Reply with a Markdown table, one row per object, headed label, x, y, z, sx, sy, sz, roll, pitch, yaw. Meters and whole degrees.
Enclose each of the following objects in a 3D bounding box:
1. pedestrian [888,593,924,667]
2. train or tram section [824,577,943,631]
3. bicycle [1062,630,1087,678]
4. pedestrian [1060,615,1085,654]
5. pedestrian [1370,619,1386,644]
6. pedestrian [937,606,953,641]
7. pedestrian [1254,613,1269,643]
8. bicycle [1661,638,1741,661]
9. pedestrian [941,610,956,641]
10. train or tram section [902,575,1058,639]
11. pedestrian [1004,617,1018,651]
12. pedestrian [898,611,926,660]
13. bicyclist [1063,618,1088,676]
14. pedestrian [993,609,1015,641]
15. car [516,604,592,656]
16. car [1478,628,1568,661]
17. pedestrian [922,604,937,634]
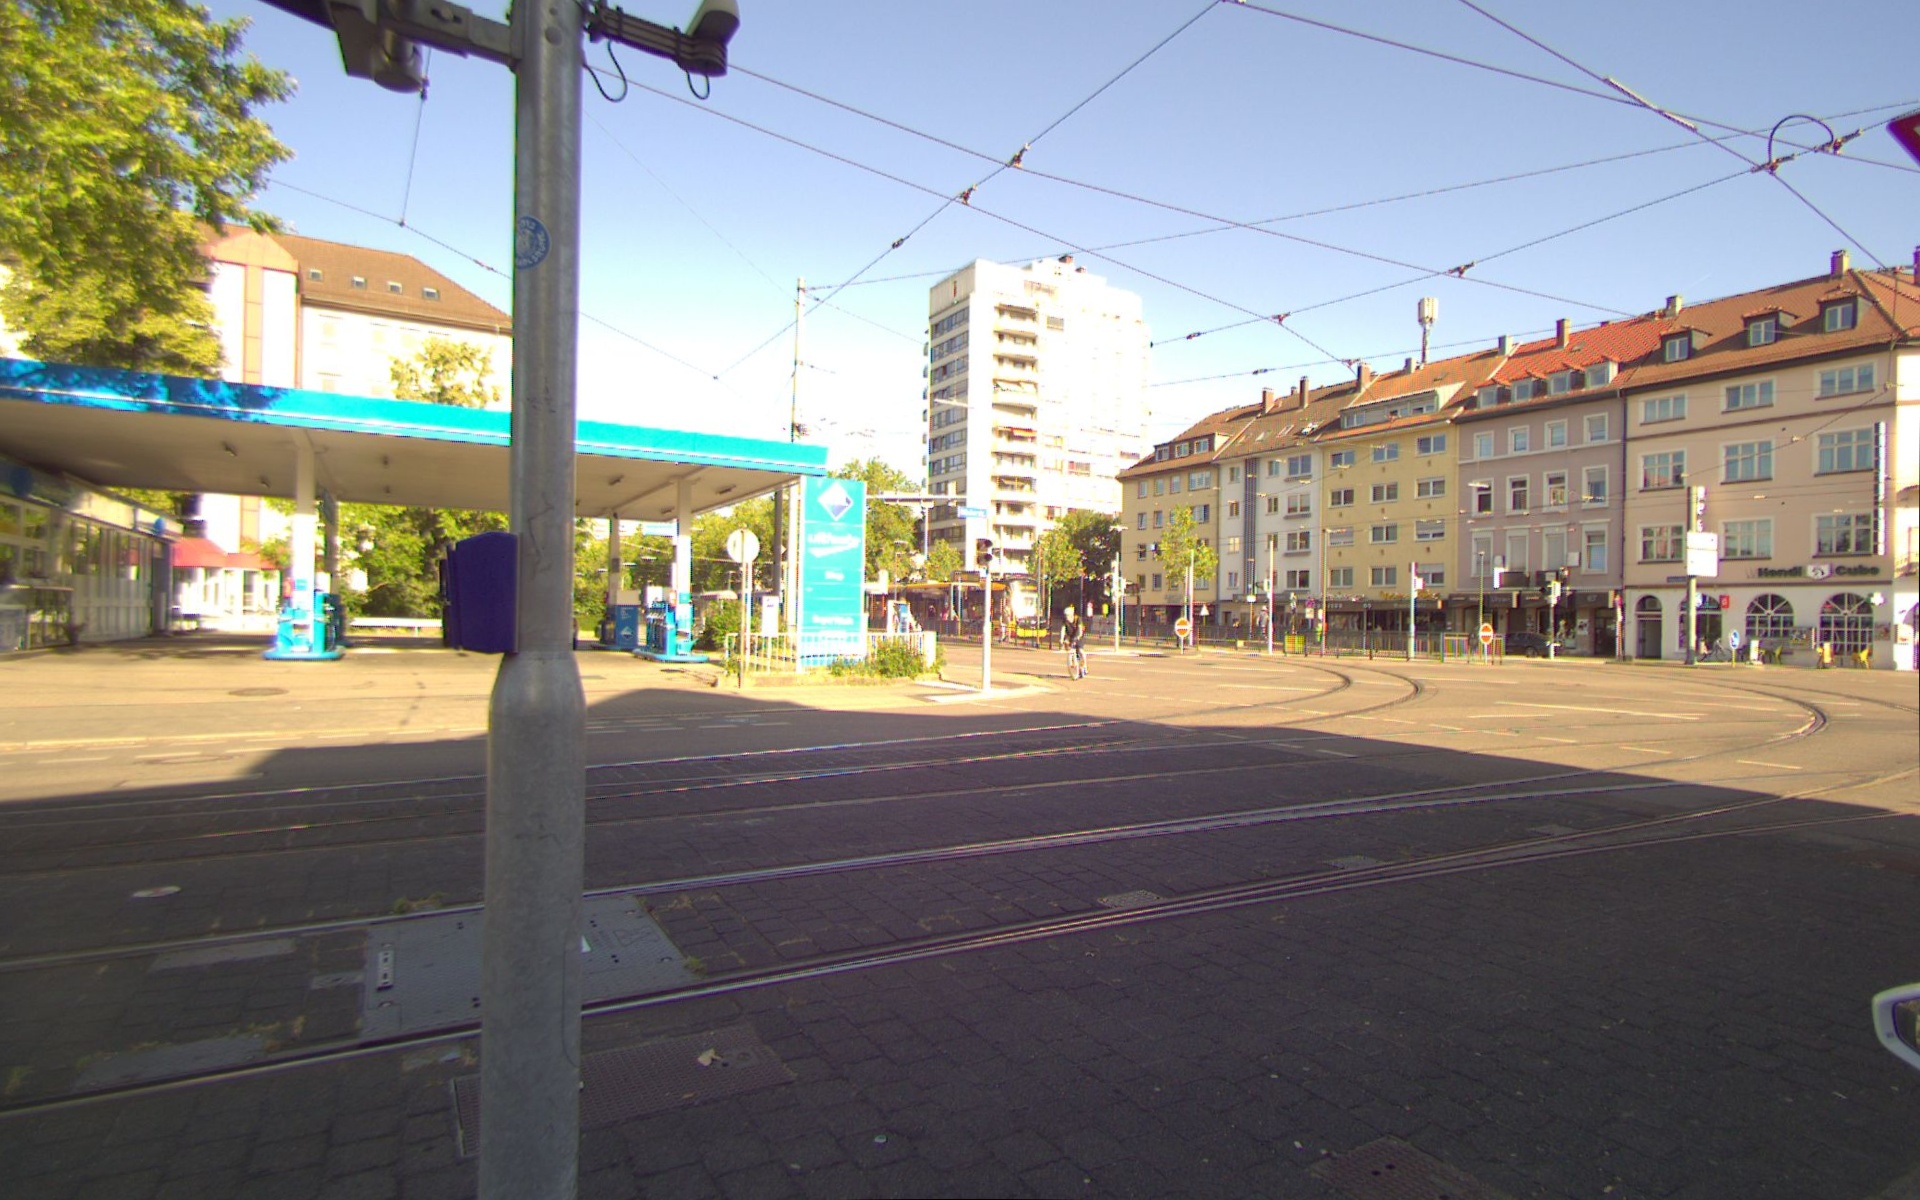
| label | x | y | z | sx | sy | sz | roll | pitch | yaw |
| --- | --- | --- | --- | --- | --- | --- | --- | --- | --- |
| pedestrian | -1.415 | 0.788 | 26.399 | 0.778 | 1.893 | 0.674 | 2 | 0 | 6 |
| train or tram section | -5.457 | 0.203 | 67.951 | 2.751 | 3.273 | 12.286 | 2 | 0 | -31 |
| bicycle | 2.828 | 1.306 | 24.784 | 0.563 | 1.084 | 1.795 | 2 | 0 | 6 |
| pedestrian | 4.694 | 1.433 | 42.030 | 0.810 | 1.608 | 0.702 | 1 | -1 | -19 |
| pedestrian | 27.922 | 2.116 | 67.084 | 0.693 | 1.656 | 0.629 | 2 | 0 | -33 |
| pedestrian | -0.841 | 1.288 | 55.212 | 0.666 | 1.913 | 0.520 | 2 | 0 | -31 |
| pedestrian | 16.754 | 1.536 | 55.802 | 0.570 | 1.649 | 0.522 | 2 | 0 | -31 |
| bicycle | 37.504 | 2.491 | 50.898 | 0.989 | 0.993 | 3.115 | 2 | 0 | -29 |
| pedestrian | -0.597 | 1.355 | 53.810 | 0.580 | 1.613 | 0.520 | 2 | 0 | -31 |
| train or tram section | 0.788 | 0.323 | 57.470 | 2.751 | 3.273 | 12.286 | 2 | 0 | -31 |
| pedestrian | 2.527 | 1.682 | 49.669 | 0.575 | 1.686 | 0.525 | 2 | 0 | 15 |
| pedestrian | -1.654 | 1.227 | 34.685 | 0.675 | 1.656 | 0.694 | 2 | 0 | -35 |
| bicyclist | 2.844 | 1.150 | 24.755 | 0.549 | 1.384 | 0.803 | 2 | 0 | 7 |
| pedestrian | 2.137 | 1.213 | 48.471 | 0.814 | 1.532 | 0.699 | 1 | -1 | -33 |
| car | -12.232 | 0.881 | 30.168 | 1.764 | 1.411 | 3.455 | 2 | 0 | -28 |
| car | 30.859 | 2.418 | 55.141 | 1.970 | 1.692 | 3.981 | 1 | -1 | -21 |
| pedestrian | -1.699 | 1.064 | 56.114 | 0.580 | 1.613 | 0.520 | 2 | 0 | -31 |
